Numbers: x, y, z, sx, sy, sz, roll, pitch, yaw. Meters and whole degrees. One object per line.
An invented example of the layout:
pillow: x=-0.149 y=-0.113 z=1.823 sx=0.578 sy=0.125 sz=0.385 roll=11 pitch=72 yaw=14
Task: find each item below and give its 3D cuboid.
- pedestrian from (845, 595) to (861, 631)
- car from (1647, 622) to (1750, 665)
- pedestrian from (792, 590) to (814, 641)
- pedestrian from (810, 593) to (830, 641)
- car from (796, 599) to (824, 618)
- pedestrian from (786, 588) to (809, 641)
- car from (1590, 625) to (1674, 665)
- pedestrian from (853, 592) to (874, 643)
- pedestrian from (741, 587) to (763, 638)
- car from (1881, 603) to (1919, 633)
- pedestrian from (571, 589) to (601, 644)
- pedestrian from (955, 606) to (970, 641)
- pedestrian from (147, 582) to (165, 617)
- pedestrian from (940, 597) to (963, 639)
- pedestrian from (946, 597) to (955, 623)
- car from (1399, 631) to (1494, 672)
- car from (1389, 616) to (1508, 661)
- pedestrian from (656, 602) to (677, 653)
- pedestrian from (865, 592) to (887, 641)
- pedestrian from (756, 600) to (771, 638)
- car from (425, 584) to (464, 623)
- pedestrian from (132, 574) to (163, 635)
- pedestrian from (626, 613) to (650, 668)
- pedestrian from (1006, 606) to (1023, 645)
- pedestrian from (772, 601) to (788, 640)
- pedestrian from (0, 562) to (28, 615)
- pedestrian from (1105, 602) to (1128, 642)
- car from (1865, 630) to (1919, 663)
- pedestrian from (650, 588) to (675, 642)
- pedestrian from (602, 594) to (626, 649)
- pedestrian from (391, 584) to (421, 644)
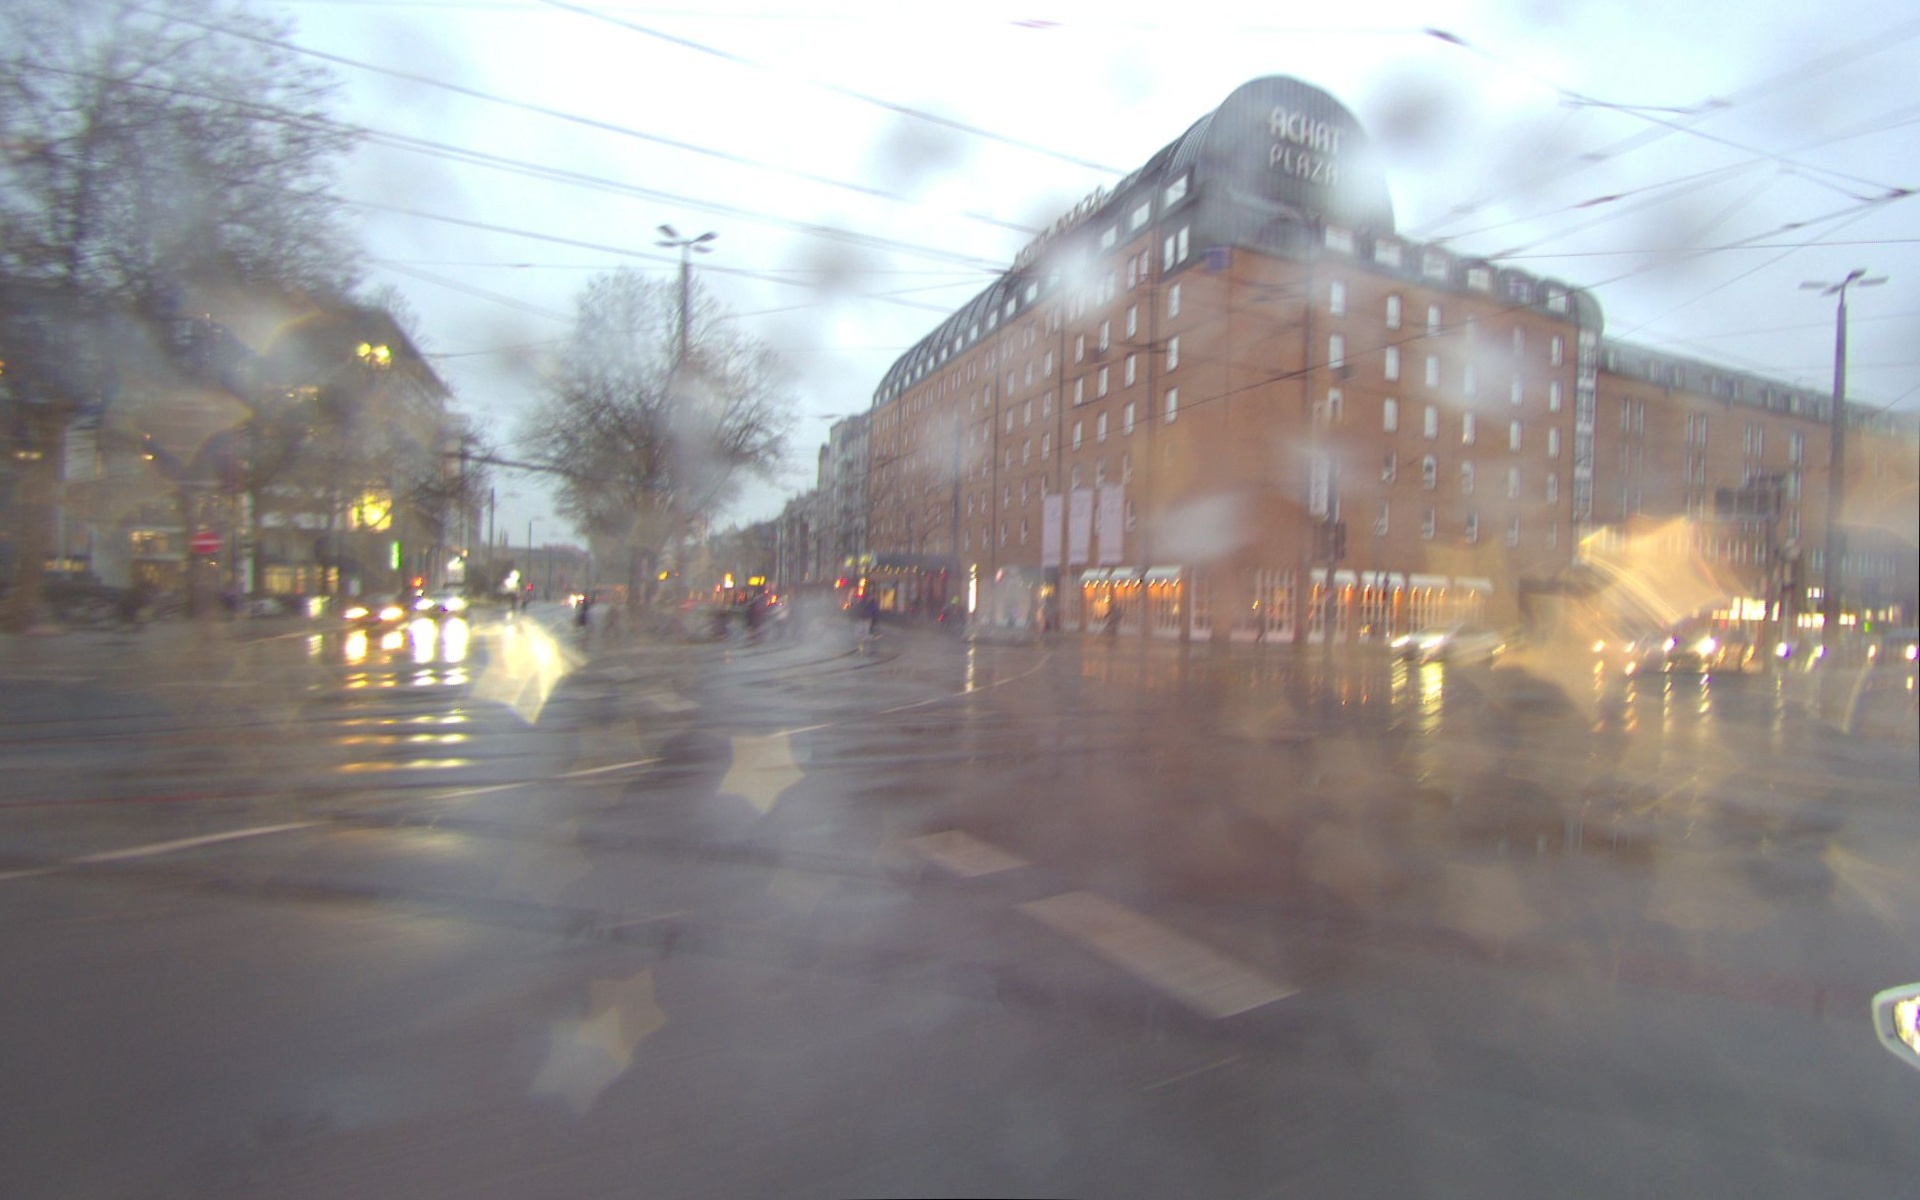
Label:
pedestrian: x=-6.157 y=0.725 z=57.861 sx=0.709 sy=2.040 sz=0.743 roll=2 pitch=0 yaw=-21
car: x=32.143 y=1.876 z=43.717 sx=4.648 sy=1.732 sz=1.821 roll=2 pitch=0 yaw=-29
pedestrian: x=-6.485 y=0.642 z=41.474 sx=0.744 sy=2.040 sz=0.707 roll=1 pitch=0 yaw=-2
pedestrian: x=-5.981 y=0.724 z=42.885 sx=0.744 sy=2.040 sz=0.707 roll=1 pitch=0 yaw=-2
car: x=-14.919 y=0.860 z=99.576 sx=2.076 sy=1.806 sz=3.688 roll=2 pitch=0 yaw=-20
pedestrian: x=-6.433 y=0.564 z=39.773 sx=0.744 sy=2.040 sz=0.707 roll=1 pitch=0 yaw=-2
car: x=31.139 y=2.090 z=46.524 sx=3.809 sy=1.732 sz=1.676 roll=1 pitch=0 yaw=-29
pedestrian: x=-3.951 y=0.718 z=41.082 sx=0.744 sy=2.040 sz=0.800 roll=1 pitch=0 yaw=-2
pedestrian: x=-8.446 y=0.517 z=40.776 sx=0.697 sy=2.040 sz=0.755 roll=2 pitch=0 yaw=-24
car: x=69.620 y=1.341 z=73.537 sx=3.951 sy=2.041 sz=1.985 roll=1 pitch=2 yaw=-29
pedestrian: x=-14.221 y=0.633 z=38.167 sx=0.764 sy=2.040 sz=0.706 roll=1 pitch=0 yaw=30
pedestrian: x=0.100 y=1.059 z=45.753 sx=0.564 sy=1.558 sz=0.519 roll=1 pitch=0 yaw=-9
pedestrian: x=-39.761 y=-0.025 z=49.675 sx=0.553 sy=1.706 sz=0.594 roll=1 pitch=0 yaw=-22
pedestrian: x=-0.405 y=0.843 z=47.263 sx=0.774 sy=1.925 sz=0.835 roll=1 pitch=0 yaw=-20
pedestrian: x=-0.765 y=0.761 z=79.285 sx=0.521 sy=2.040 sz=0.553 roll=1 pitch=0 yaw=-21
car: x=19.257 y=2.014 z=39.753 sx=3.550 sy=1.515 sz=1.576 roll=1 pitch=0 yaw=-27
car: x=17.372 y=1.361 z=35.715 sx=4.147 sy=1.515 sz=1.662 roll=1 pitch=0 yaw=-27
pedestrian: x=-11.581 y=1.092 z=39.586 sx=0.655 sy=1.984 sz=0.529 roll=1 pitch=0 yaw=-5
pedestrian: x=-3.563 y=0.703 z=42.452 sx=0.747 sy=2.040 sz=0.705 roll=1 pitch=0 yaw=-17
pedestrian: x=-8.127 y=0.784 z=41.606 sx=0.564 sy=1.558 sz=0.519 roll=1 pitch=0 yaw=-9
car: x=-29.952 y=0.196 z=58.455 sx=1.895 sy=2.166 sz=4.050 roll=1 pitch=0 yaw=-26
pedestrian: x=-27.798 y=0.148 z=34.376 sx=0.753 sy=2.040 sz=0.699 roll=2 pitch=0 yaw=-42
pedestrian: x=-12.107 y=1.507 z=37.788 sx=0.747 sy=2.040 sz=0.705 roll=1 pitch=0 yaw=-16
pedestrian: x=2.215 y=1.031 z=40.790 sx=0.564 sy=1.558 sz=0.519 roll=1 pitch=0 yaw=-9
pedestrian: x=-7.249 y=0.822 z=40.486 sx=0.564 sy=1.558 sz=0.519 roll=1 pitch=0 yaw=-9
pedestrian: x=-30.926 y=-0.361 z=32.827 sx=0.553 sy=1.706 sz=0.595 roll=1 pitch=0 yaw=39
pedestrian: x=8.133 y=1.153 z=52.231 sx=0.921 sy=2.040 sz=0.756 roll=1 pitch=0 yaw=39
car: x=42.881 y=2.116 z=45.537 sx=3.503 sy=1.372 sz=1.674 roll=2 pitch=1 yaw=-29
pedestrian: x=-11.493 y=0.564 z=38.805 sx=0.744 sy=2.040 sz=0.707 roll=1 pitch=0 yaw=-2
pedestrian: x=-12.914 y=0.808 z=37.536 sx=0.747 sy=2.040 sz=0.705 roll=1 pitch=0 yaw=-16
pedestrian: x=-19.207 y=0.486 z=34.826 sx=0.753 sy=2.040 sz=0.699 roll=2 pitch=0 yaw=-42
